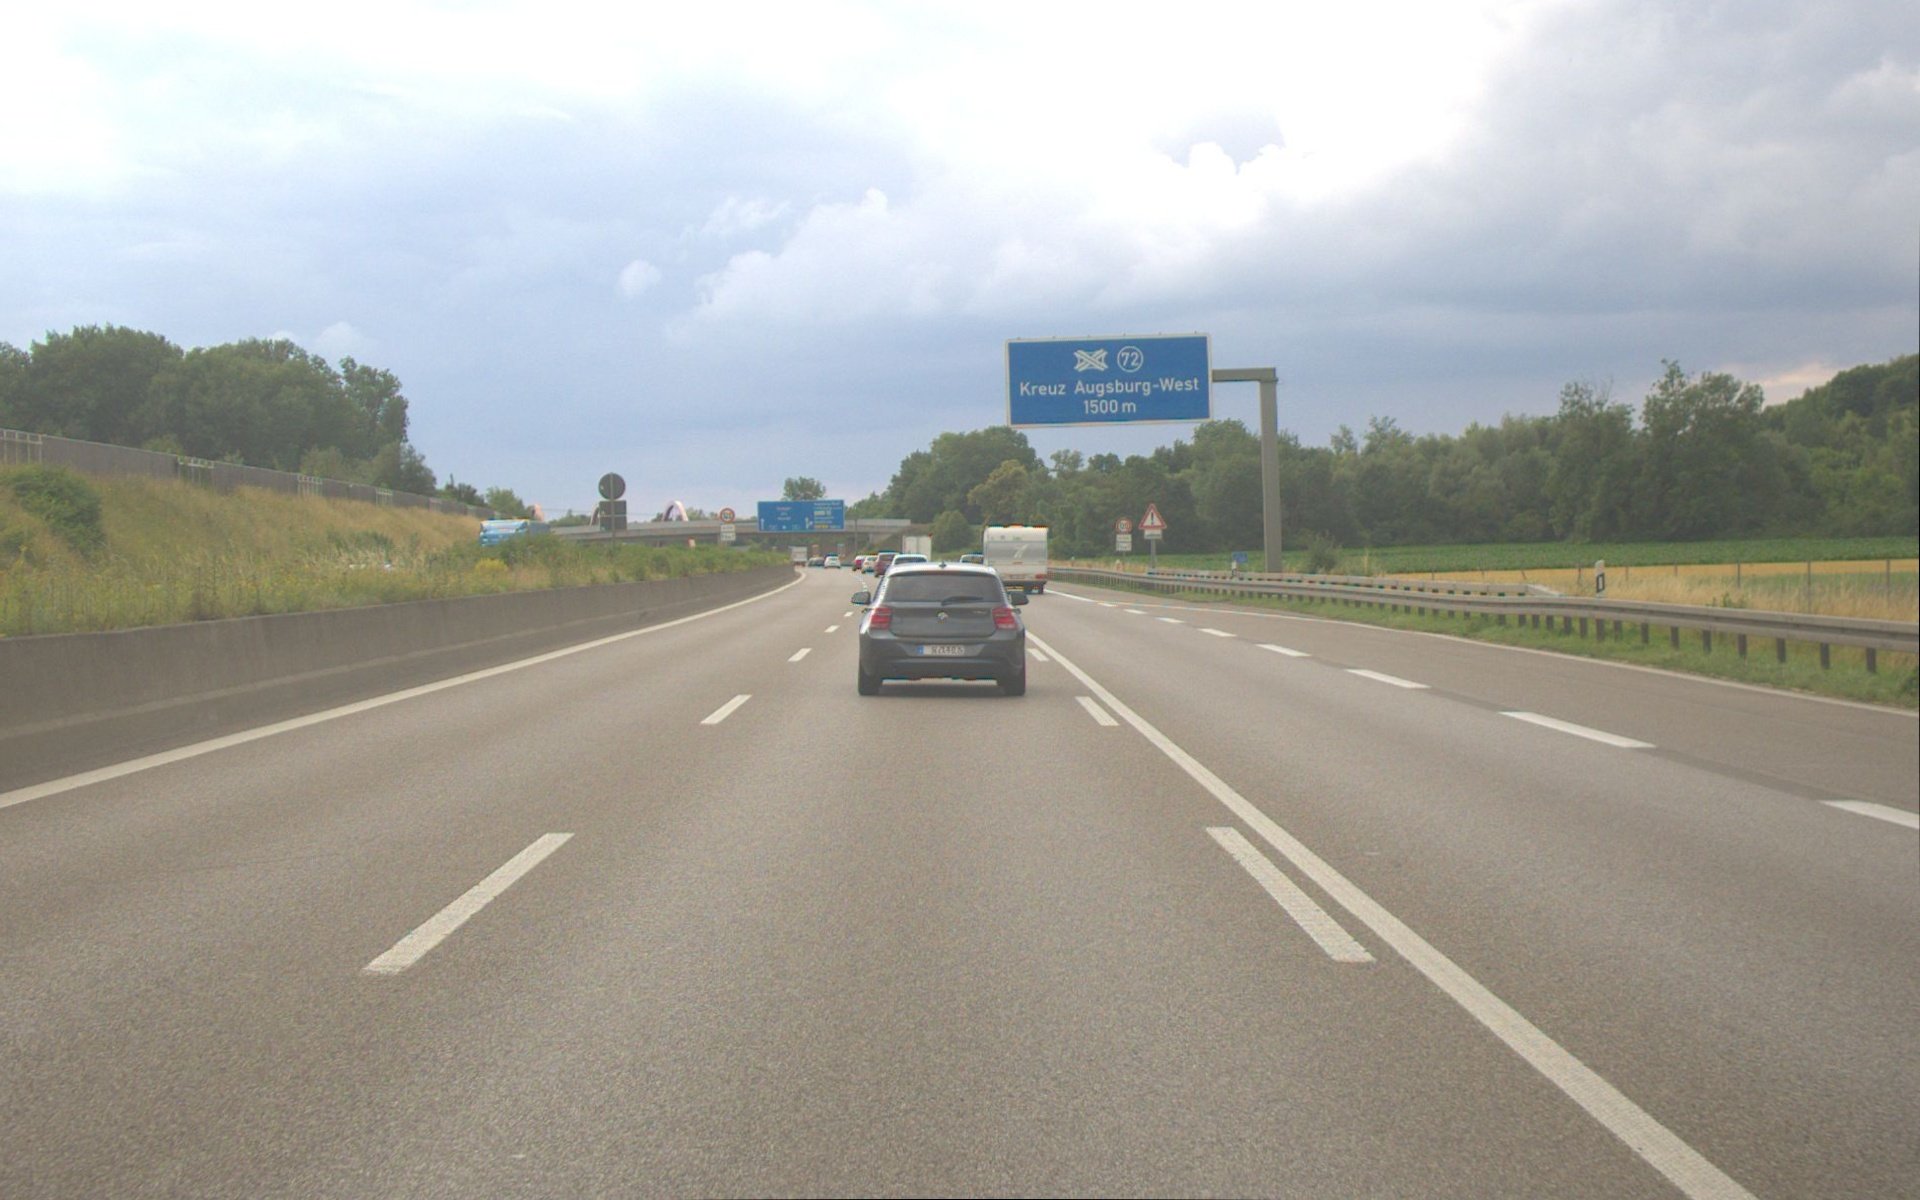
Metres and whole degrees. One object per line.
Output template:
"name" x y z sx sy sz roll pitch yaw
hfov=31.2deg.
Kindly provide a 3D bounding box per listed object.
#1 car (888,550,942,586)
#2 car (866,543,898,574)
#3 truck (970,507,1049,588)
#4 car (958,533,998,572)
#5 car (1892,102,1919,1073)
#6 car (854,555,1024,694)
"car" -1.711 -1.236 130.524 1.993 1.293 4.000 -1 1 -1
"car" -5.085 -2.711 224.506 1.993 2.007 4.000 -1 1 -1
"truck" 1.843 -2.052 133.873 2.710 2.954 12.448 1 1 -1
"car" 0.928 -2.515 181.367 1.993 2.007 4.000 -1 1 -1
"car" 3.654 0.022 6.195 2.221 2.559 6.256 0 1 0
"car" -0.228 0.224 37.345 1.743 1.384 4.000 0 1 0
